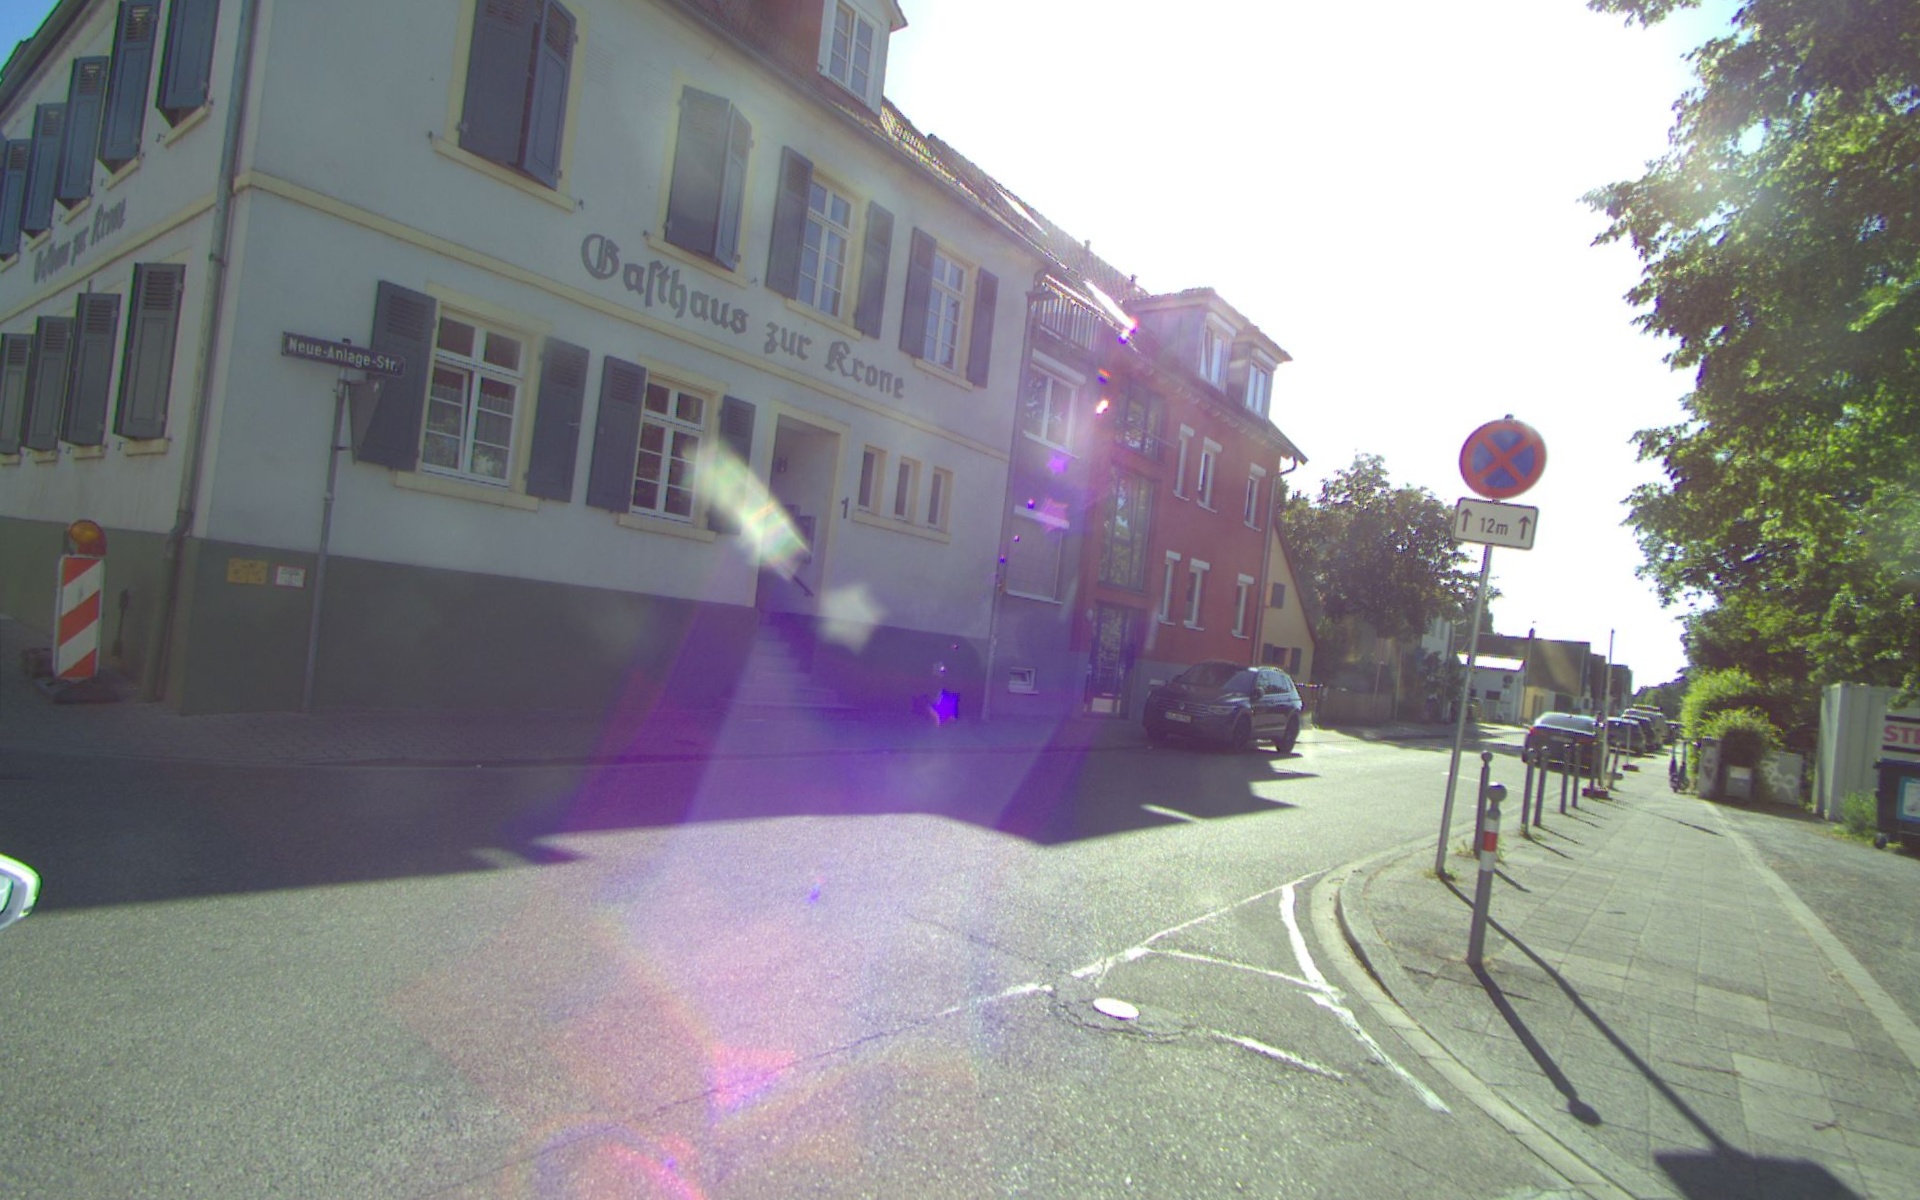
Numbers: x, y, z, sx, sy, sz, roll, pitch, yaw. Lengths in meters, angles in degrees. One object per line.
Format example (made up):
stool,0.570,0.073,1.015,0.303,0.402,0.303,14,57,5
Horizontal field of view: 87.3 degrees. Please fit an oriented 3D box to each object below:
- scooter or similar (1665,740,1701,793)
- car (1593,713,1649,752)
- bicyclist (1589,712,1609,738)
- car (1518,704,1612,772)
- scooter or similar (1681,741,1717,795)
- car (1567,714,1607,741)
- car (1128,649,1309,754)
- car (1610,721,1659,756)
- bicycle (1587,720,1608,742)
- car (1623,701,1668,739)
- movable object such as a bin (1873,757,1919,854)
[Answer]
scooter or similar,16.010,3.688,22.263,0.499,1.055,1.637,5,-5,39
car,29.191,5.819,44.380,1.765,1.373,4.124,6,-2,36
bicyclist,34.030,6.670,53.583,0.711,1.283,0.834,8,0,36
car,16.728,3.763,27.711,1.765,1.491,4.124,6,-2,36
scooter or similar,16.120,3.677,21.921,0.499,1.055,1.637,5,-5,39
car,40.091,8.137,64.270,1.765,1.373,4.124,6,-2,36
car,5.164,1.994,19.695,1.927,1.703,4.264,3,-4,36
car,33.165,6.748,49.410,1.765,1.373,4.124,6,-2,36
bicycle,34.021,6.985,53.648,0.711,1.062,2.216,8,-1,36
car,38.282,6.695,56.128,1.765,1.758,4.124,8,-1,36
movable object such as a bin,13.645,2.924,14.160,1.091,1.270,0.967,4,-2,44
